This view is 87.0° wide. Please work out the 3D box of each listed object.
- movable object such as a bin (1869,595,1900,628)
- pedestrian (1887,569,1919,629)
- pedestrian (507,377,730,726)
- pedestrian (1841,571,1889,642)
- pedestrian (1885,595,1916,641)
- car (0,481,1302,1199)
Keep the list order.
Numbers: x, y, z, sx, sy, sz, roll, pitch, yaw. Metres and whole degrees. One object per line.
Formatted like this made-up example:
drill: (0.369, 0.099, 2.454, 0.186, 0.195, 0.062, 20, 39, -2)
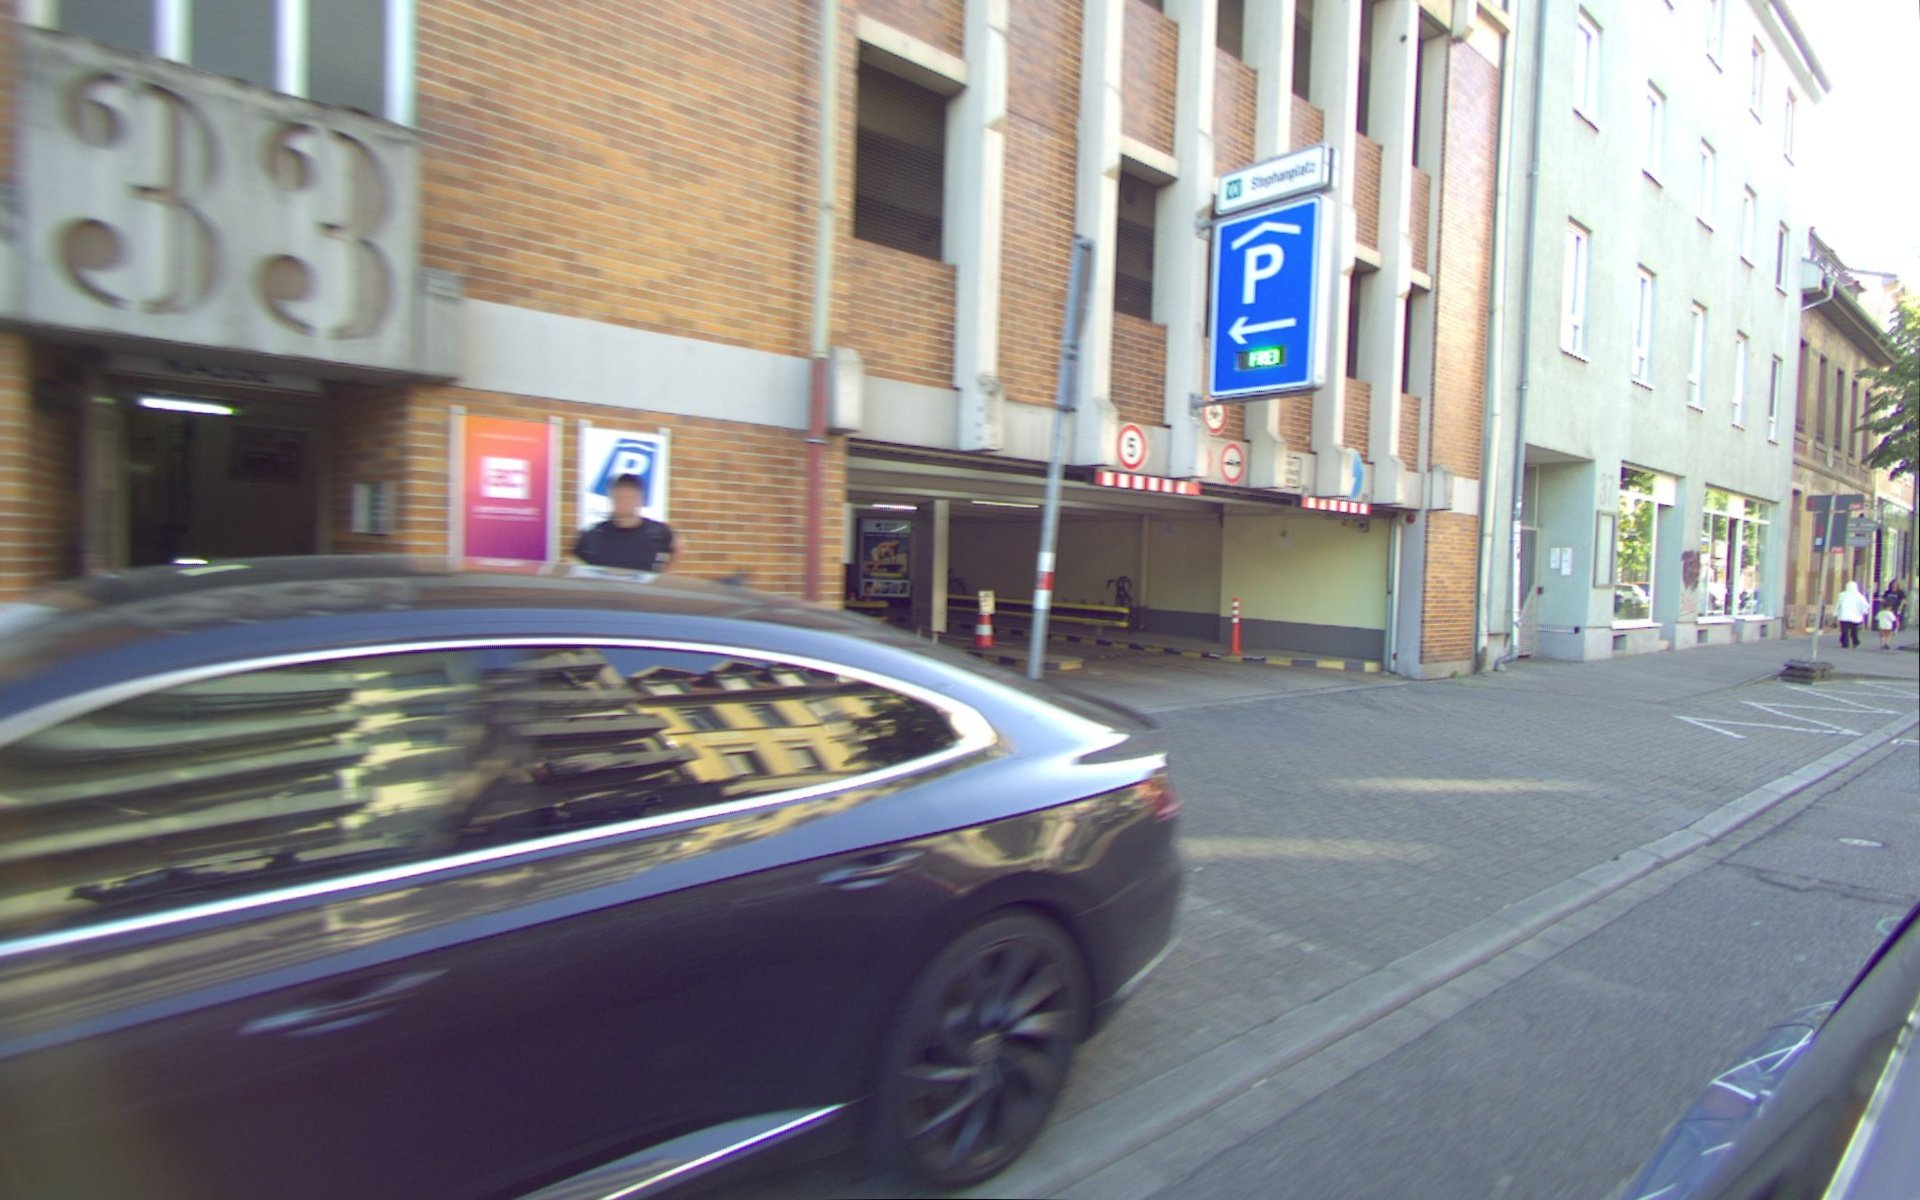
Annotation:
movable object such as a bin: (31.046, 0.389, 33.974, 0.709, 1.052, 0.590, 0, 4, -39)
pedestrian: (29.361, -0.040, 31.421, 0.757, 1.786, 0.625, 0, 4, -39)
pedestrian: (-1.803, -0.253, 5.341, 0.874, 1.655, 0.693, 0, 4, -40)
pedestrian: (21.024, 0.133, 23.512, 1.003, 1.577, 0.582, 0, 5, -41)
pedestrian: (22.398, 0.422, 24.103, 0.727, 1.045, 0.394, 0, 5, -41)
car: (-1.508, 0.548, 2.232, 4.876, 1.495, 1.924, 0, 6, -40)
